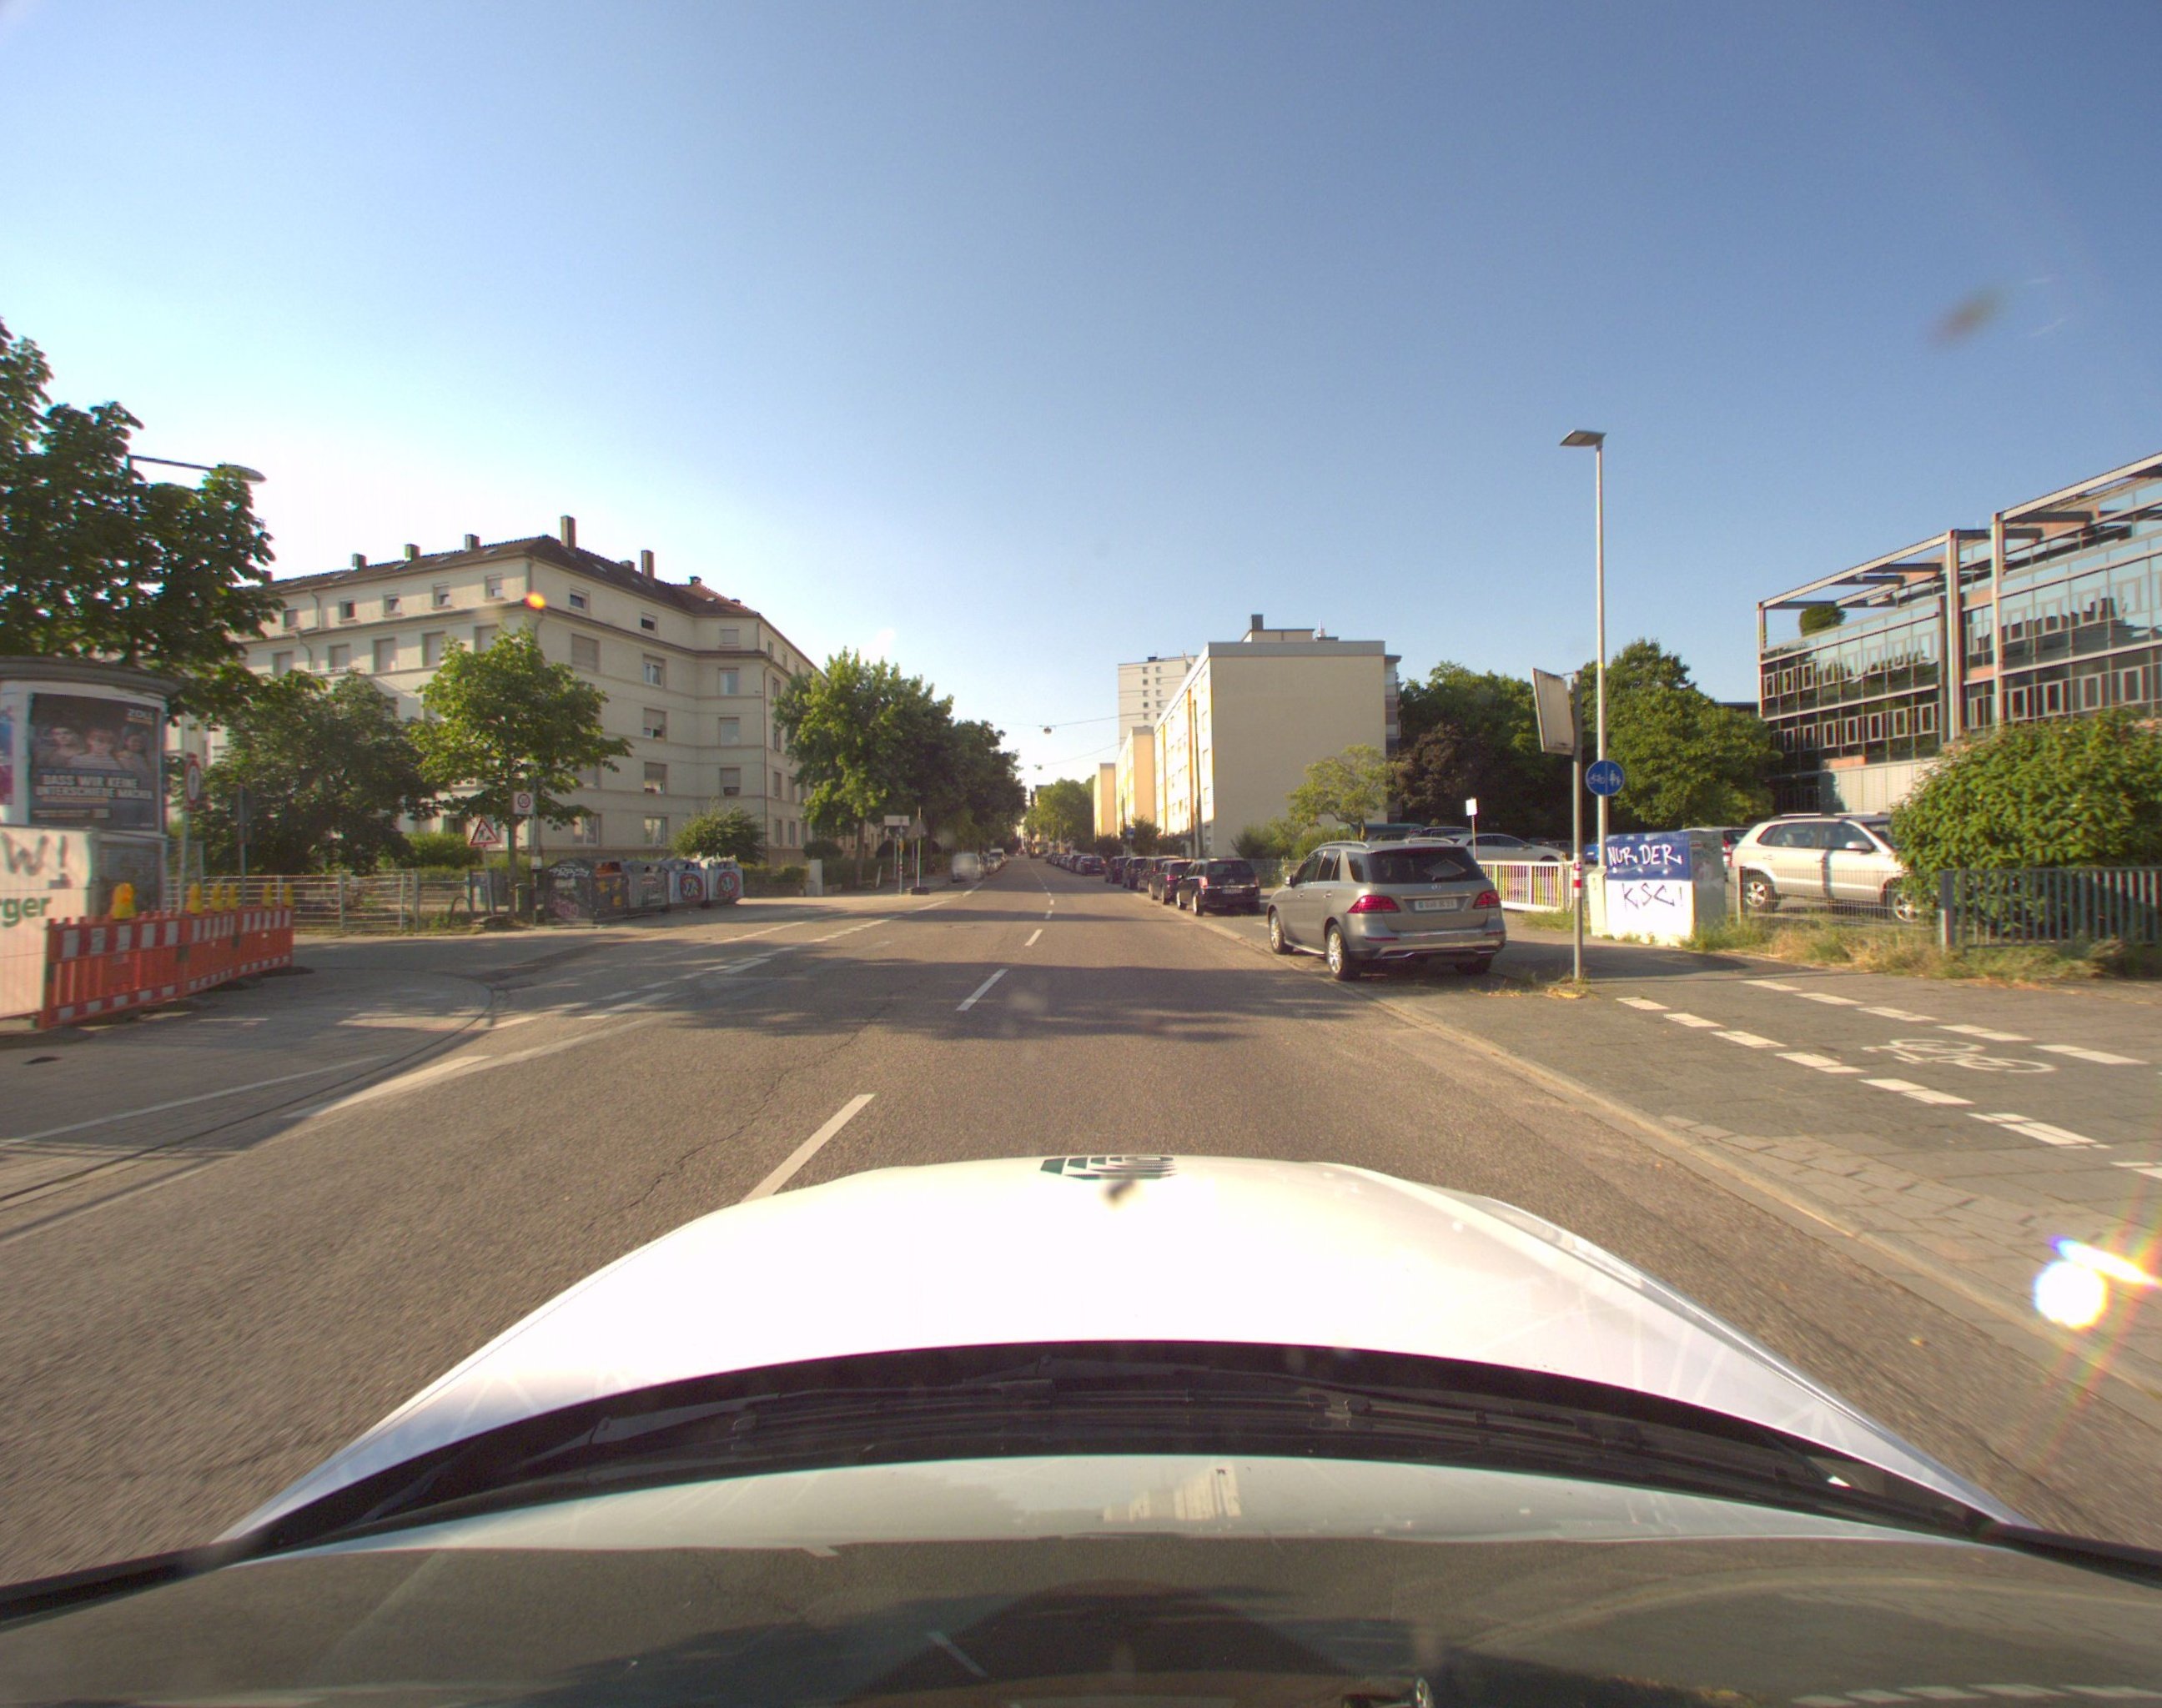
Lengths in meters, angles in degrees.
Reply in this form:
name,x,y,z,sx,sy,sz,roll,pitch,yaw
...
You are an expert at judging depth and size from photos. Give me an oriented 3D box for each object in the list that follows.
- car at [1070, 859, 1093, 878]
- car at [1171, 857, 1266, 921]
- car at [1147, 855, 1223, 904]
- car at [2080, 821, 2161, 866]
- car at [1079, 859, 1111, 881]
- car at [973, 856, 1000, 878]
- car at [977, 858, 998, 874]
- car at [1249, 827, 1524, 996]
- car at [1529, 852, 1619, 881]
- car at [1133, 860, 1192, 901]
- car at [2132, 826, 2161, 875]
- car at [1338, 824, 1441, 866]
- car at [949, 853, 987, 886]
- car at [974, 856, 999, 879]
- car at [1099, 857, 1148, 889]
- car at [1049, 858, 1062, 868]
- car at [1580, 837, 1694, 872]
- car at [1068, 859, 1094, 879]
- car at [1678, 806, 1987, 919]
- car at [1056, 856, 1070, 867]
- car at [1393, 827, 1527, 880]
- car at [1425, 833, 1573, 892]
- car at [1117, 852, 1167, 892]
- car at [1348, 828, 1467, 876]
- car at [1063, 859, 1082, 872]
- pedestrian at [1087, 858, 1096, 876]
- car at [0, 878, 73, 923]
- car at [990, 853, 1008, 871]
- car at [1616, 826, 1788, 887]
name,x,y,z,sx,sy,sz,roll,pitch,yaw
car,-0.010,1.348,74.367,1.768,1.678,4.639,-1,-1,-4
car,3.706,0.919,22.703,1.737,1.541,4.436,-2,-1,-2
car,3.527,0.863,28.439,1.896,1.530,4.806,1,-1,-2
car,38.944,-0.337,29.274,4.063,1.503,1.828,1,-1,-4
car,1.047,1.246,63.493,1.796,1.507,4.611,5,-2,-6
car,-7.045,1.011,61.002,1.871,1.552,3.991,1,-1,-6
car,-9.435,1.215,82.659,2.002,1.552,4.461,1,-1,-6
car,3.981,0.705,11.696,1.916,1.779,4.806,-4,-1,-2
car,27.494,0.728,45.481,4.063,1.503,1.828,1,-1,-4
car,3.297,1.031,33.524,1.648,1.436,3.952,-1,1,-6
car,38.262,-0.088,27.114,4.464,1.602,1.731,1,-1,-2
car,14.091,-0.373,37.368,3.979,1.794,1.997,1,-1,-4
car,-6.987,0.979,50.693,1.837,1.896,4.481,2,-1,-3
car,-7.626,1.132,65.997,1.871,1.759,4.679,1,-1,-6
car,2.337,1.036,45.850,1.884,1.561,4.935,-4,-1,-6
car,-4.290,1.504,136.433,1.895,1.651,4.333,2,-1,-6
car,27.326,0.054,40.104,4.464,1.602,1.731,1,-1,-2
car,-0.017,1.272,69.045,1.769,1.508,3.992,-3,-1,-6
car,12.760,0.176,14.237,1.649,1.662,3.996,1,-1,-2
car,-2.491,1.093,113.400,1.833,1.501,4.167,1,-1,-3
car,13.707,0.016,29.617,3.979,1.794,1.997,1,-1,-4
car,13.878,0.298,27.174,3.979,1.794,1.997,1,-1,-4
car,2.833,0.865,38.768,1.896,1.779,4.578,1,-1,-2
car,13.021,-0.060,32.639,3.977,1.794,1.998,1,-1,-3
car,-1.052,1.409,97.045,1.871,1.443,3.991,1,-1,-6
pedestrian,1.139,1.448,90.997,0.887,1.891,1.277,1,-2,-4
car,-41.821,1.774,30.867,1.978,1.662,4.017,1,-1,17
car,-11.576,1.157,115.451,2.353,2.446,6.155,1,-1,-4
car,18.273,0.124,24.249,1.989,1.626,3.995,1,-1,-3
